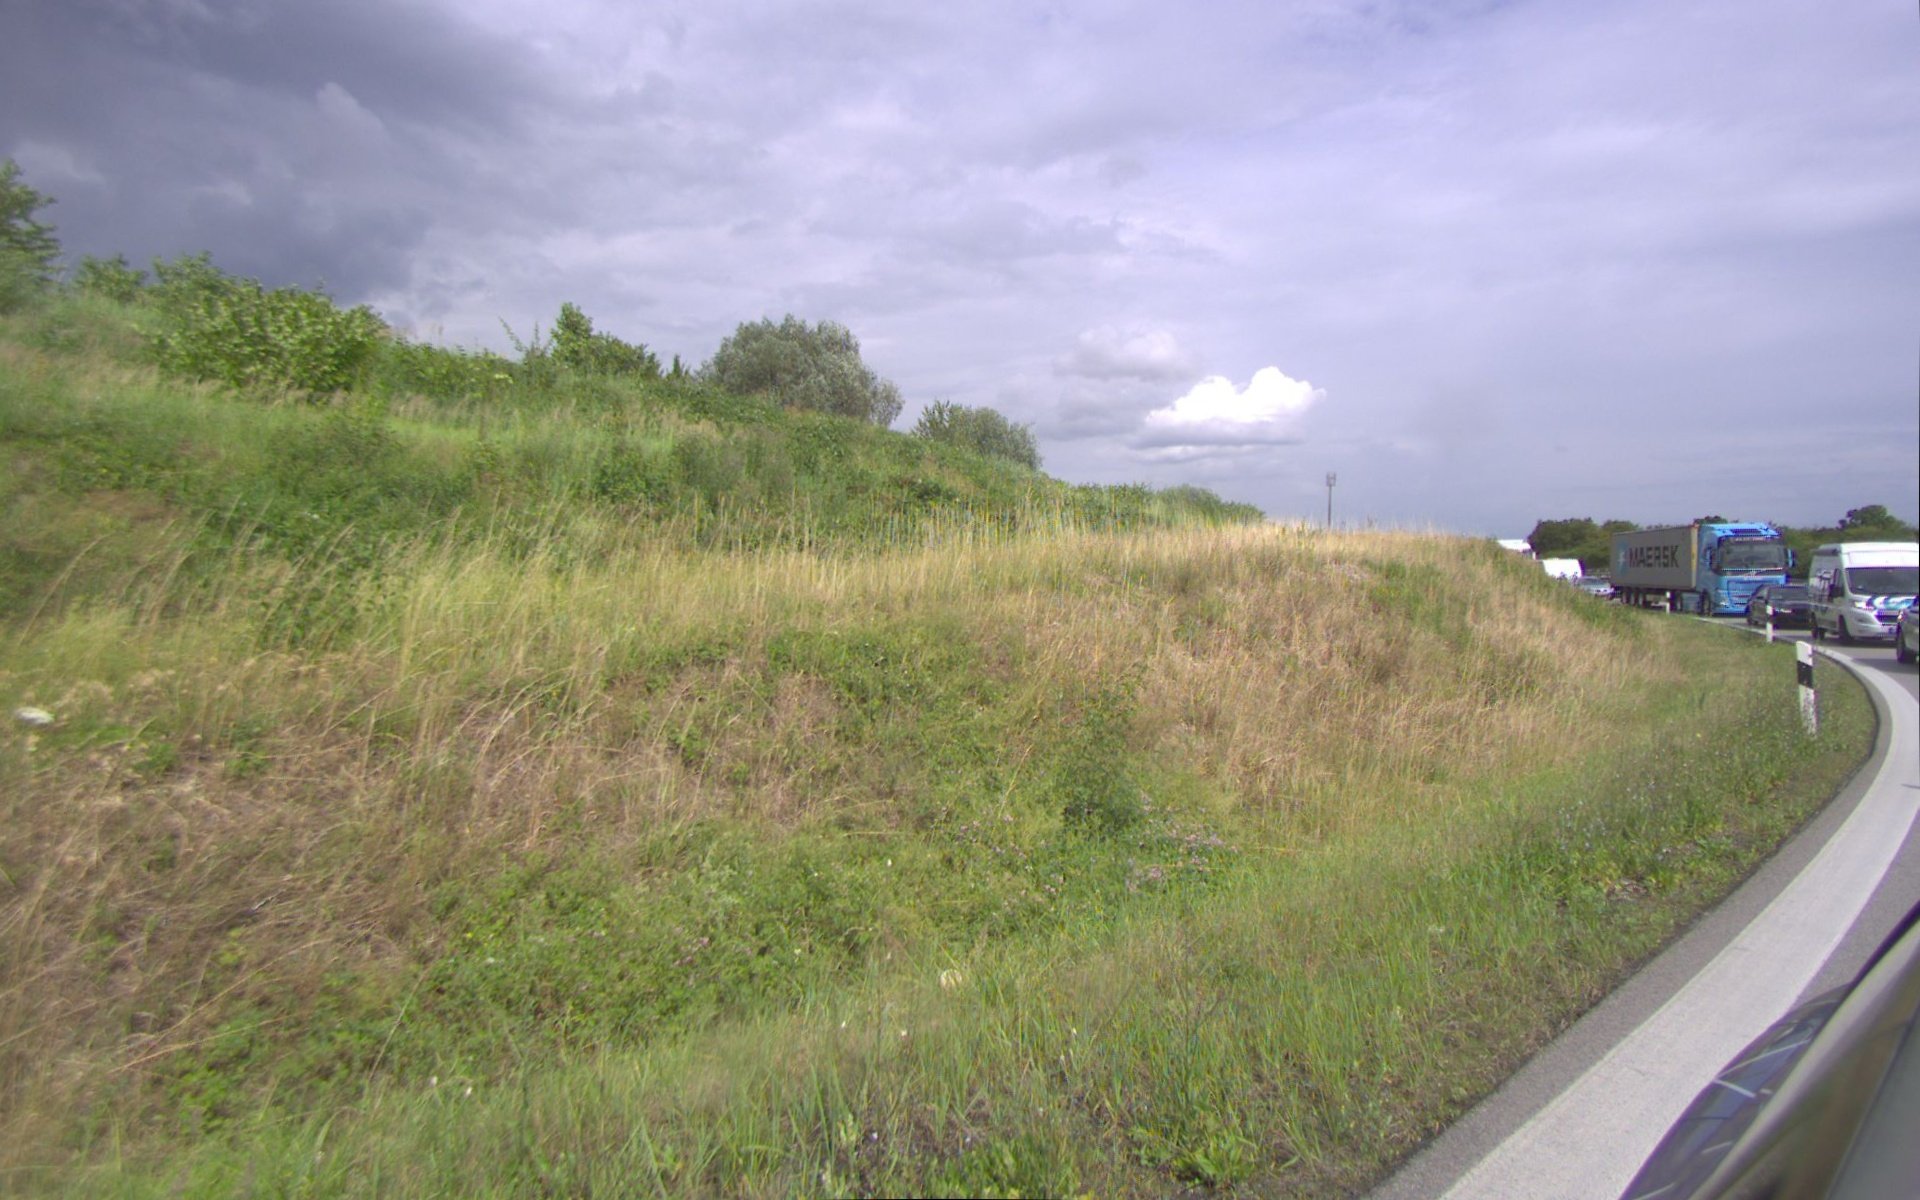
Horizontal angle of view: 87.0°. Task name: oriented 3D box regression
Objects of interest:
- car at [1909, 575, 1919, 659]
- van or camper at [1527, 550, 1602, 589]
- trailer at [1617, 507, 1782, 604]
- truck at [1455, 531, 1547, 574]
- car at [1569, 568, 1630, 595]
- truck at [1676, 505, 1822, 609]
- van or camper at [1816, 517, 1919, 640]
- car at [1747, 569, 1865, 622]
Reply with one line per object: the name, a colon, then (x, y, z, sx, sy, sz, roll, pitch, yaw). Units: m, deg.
car: (18.928, 0.376, 18.481, 1.833, 1.615, 4.119, 2, 2, 37)
van or camper: (40.504, -2.083, 67.996, 2.513, 2.237, 5.696, -1, 4, 11)
trailer: (36.154, -2.032, 50.161, 3.234, 4.213, 11.942, 0, 1, 19)
truck: (43.980, -3.791, 82.751, 3.074, 3.279, 11.136, 0, 2, 9)
car: (39.207, -1.139, 62.173, 1.970, 1.548, 3.986, 0, 3, 13)
truck: (33.925, -1.766, 43.866, 3.142, 4.124, 6.601, 0, 1, 21)
van or camper: (24.578, -0.566, 26.546, 2.381, 2.945, 5.656, 0, 1, 32)
car: (28.627, -0.214, 34.399, 1.978, 1.638, 3.969, 1, 2, 24)
